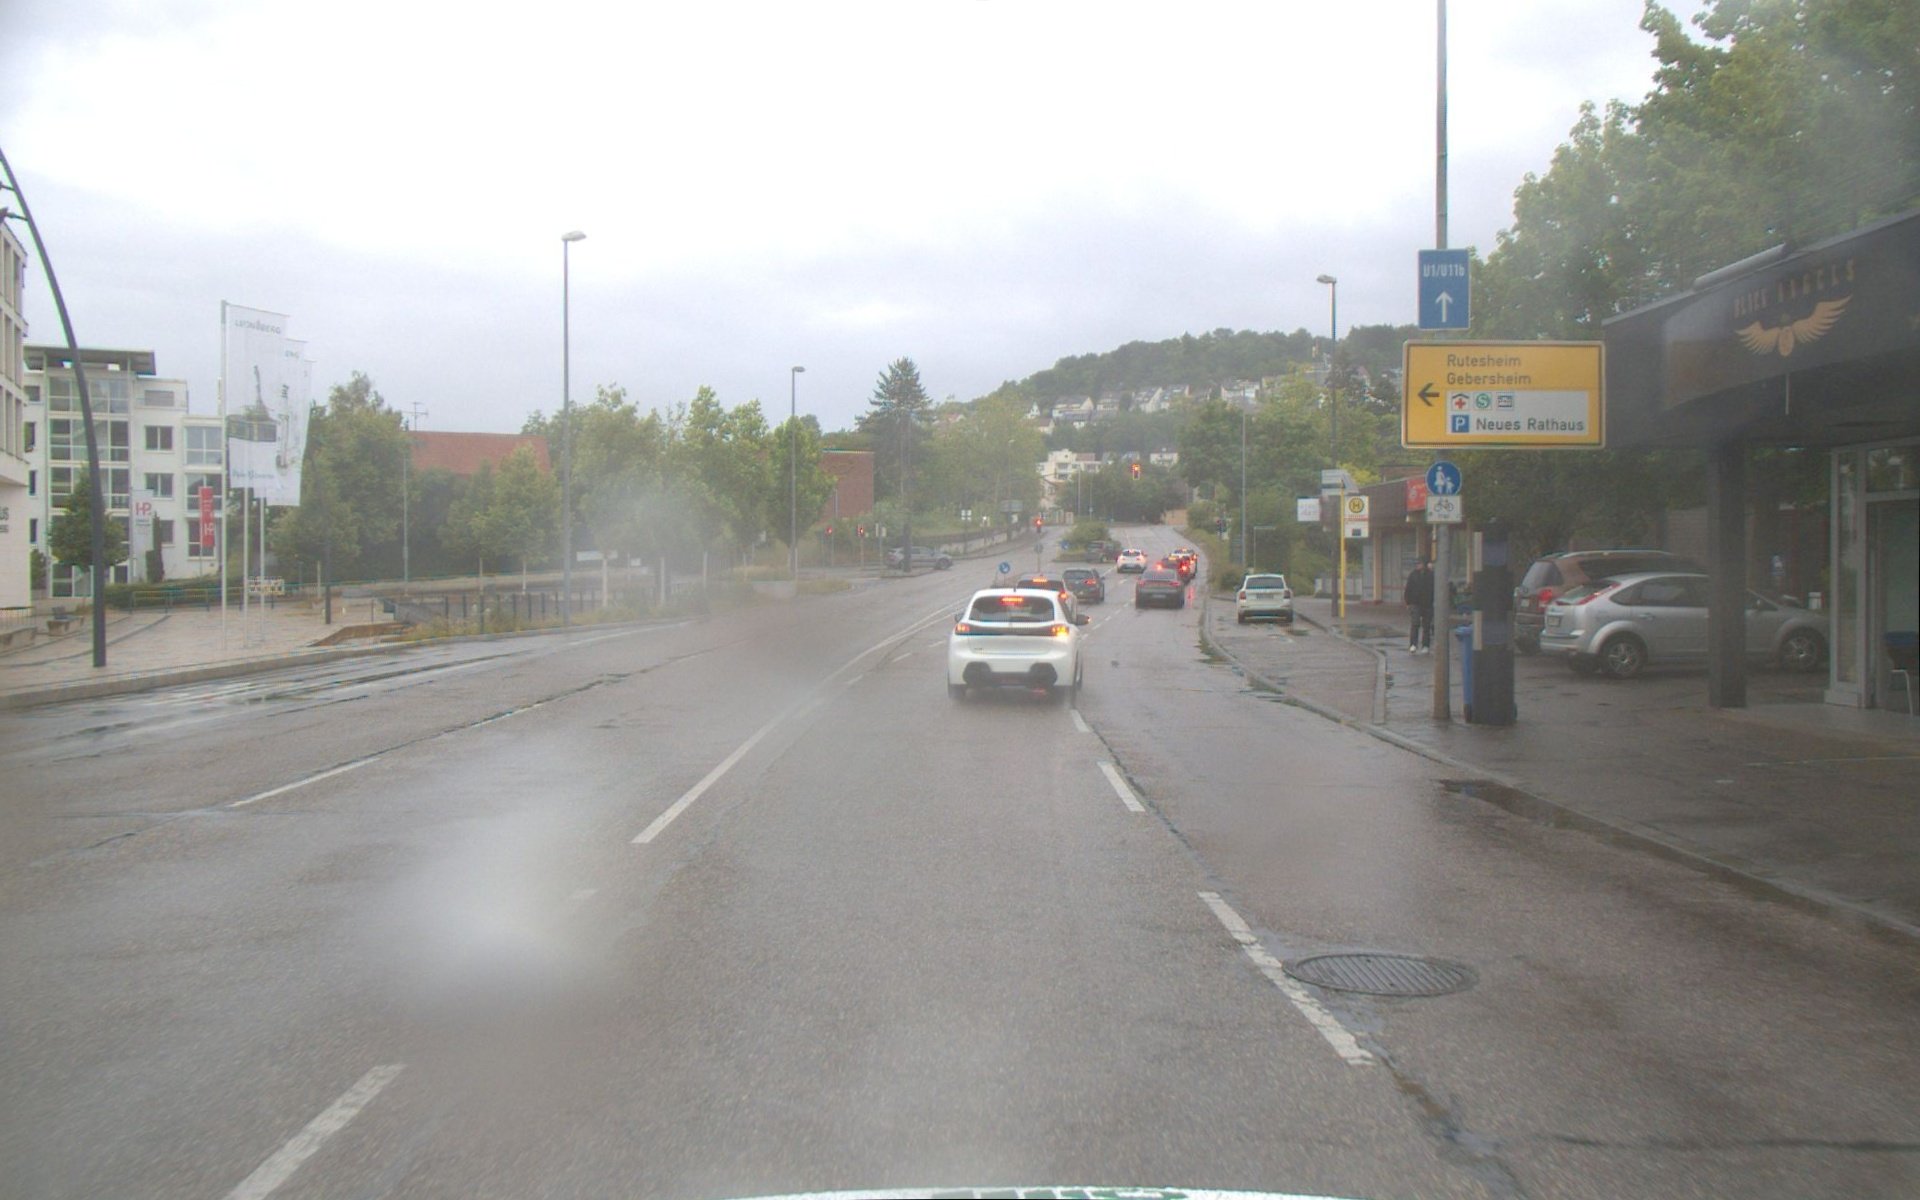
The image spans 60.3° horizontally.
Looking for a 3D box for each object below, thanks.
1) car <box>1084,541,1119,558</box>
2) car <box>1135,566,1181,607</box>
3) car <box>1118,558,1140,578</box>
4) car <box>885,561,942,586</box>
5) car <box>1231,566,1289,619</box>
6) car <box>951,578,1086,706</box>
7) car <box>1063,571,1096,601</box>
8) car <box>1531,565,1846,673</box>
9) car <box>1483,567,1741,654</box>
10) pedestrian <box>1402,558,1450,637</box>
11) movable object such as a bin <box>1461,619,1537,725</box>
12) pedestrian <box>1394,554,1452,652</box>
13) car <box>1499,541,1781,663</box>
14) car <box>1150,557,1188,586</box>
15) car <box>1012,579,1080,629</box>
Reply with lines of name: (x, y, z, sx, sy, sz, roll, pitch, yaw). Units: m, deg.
car: (10.415, -3.703, 121.750, 1.346, 1.177, 2.412, -2, -1, 42)
car: (7.870, -0.556, 65.859, 1.697, 1.411, 3.356, 1, 4, 5)
car: (10.881, -2.066, 106.535, 1.356, 1.146, 2.611, -1, -1, 5)
car: (-3.159, -1.808, 112.322, 3.471, 1.596, 1.785, -1, -1, -26)
car: (9.500, -0.261, 52.329, 1.693, 1.523, 4.485, -2, 1, 10)
car: (0.844, 0.503, 22.723, 1.655, 1.545, 3.935, 2, 1, 3)
car: (4.869, -0.563, 67.498, 1.188, 1.176, 2.270, -1, -1, 1)
car: (10.708, 0.263, 24.530, 3.903, 1.472, 1.747, -1, 1, 4)
car: (11.982, 0.182, 30.590, 4.062, 1.479, 1.803, -1, 0, 1)
pedestrian: (10.693, -0.056, 37.955, 0.857, 1.767, 0.760, -2, 1, 1)
movable object such as a bin: (5.879, 0.776, 18.066, 0.623, 1.093, 0.699, -1, 2, 2)
pedestrian: (8.951, 0.063, 31.972, 0.700, 1.853, 0.789, 0, -1, -27)
car: (11.419, 0.021, 27.997, 4.008, 1.903, 1.877, -1, 1, 4)
car: (11.672, -1.584, 92.503, 1.614, 1.511, 3.365, -1, -1, -1)
car: (2.439, 0.106, 46.414, 1.704, 1.318, 3.336, -1, 0, 6)
